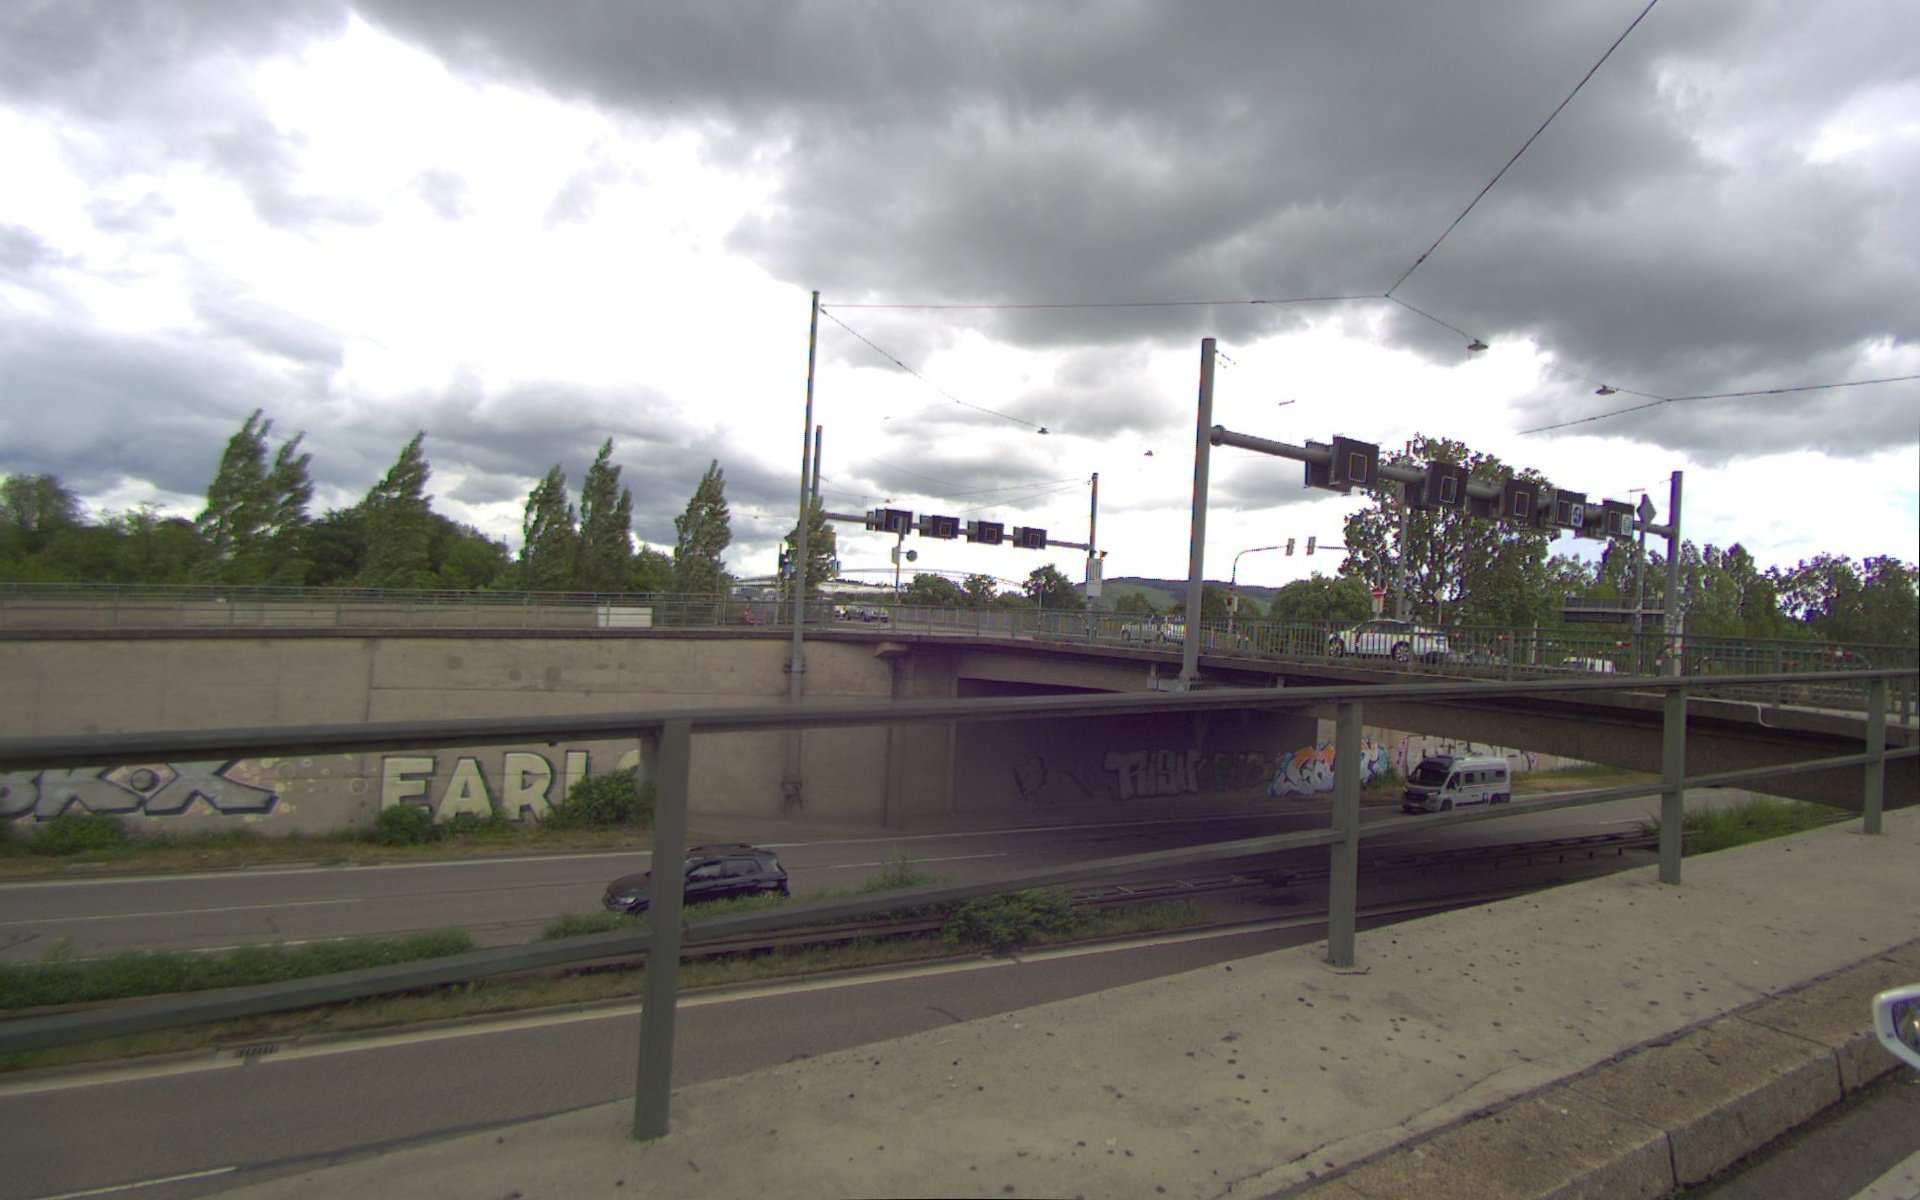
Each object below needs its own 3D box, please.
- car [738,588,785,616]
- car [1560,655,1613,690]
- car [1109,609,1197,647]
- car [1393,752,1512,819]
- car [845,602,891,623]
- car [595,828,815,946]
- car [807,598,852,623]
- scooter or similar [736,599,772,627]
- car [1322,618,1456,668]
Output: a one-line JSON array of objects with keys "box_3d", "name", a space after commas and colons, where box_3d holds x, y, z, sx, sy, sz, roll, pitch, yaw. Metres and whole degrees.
[{"box_3d": [-14.670, 0.153, 74.010, 1.711, 2.040, 4.443, 1, 0, -35], "name": "car"}, {"box_3d": [43.823, 5.007, 70.242, 3.626, 2.245, 1.843, 1, 0, -35], "name": "car"}, {"box_3d": [9.266, 1.310, 48.457, 1.918, 1.740, 3.961, 1, -1, -35], "name": "car"}, {"box_3d": [23.122, 8.598, 47.031, 6.263, 2.567, 2.071, 4, -3, -33], "name": "car"}, {"box_3d": [-6.088, 0.810, 66.394, 1.537, 1.372, 3.860, 1, -1, -31], "name": "car"}, {"box_3d": [-5.716, 6.355, 22.640, 4.374, 1.865, 1.984, 5, -4, -30], "name": "car"}, {"box_3d": [-8.472, 0.664, 65.041, 1.560, 1.587, 3.715, 1, 0, -31], "name": "car"}, {"box_3d": [-8.891, 0.562, 43.297, 1.402, 1.108, 0.539, 3, -2, -34], "name": "scooter or similar"}, {"box_3d": [16.215, 1.582, 38.148, 1.917, 1.740, 4.364, 1, -1, -34], "name": "car"}]
